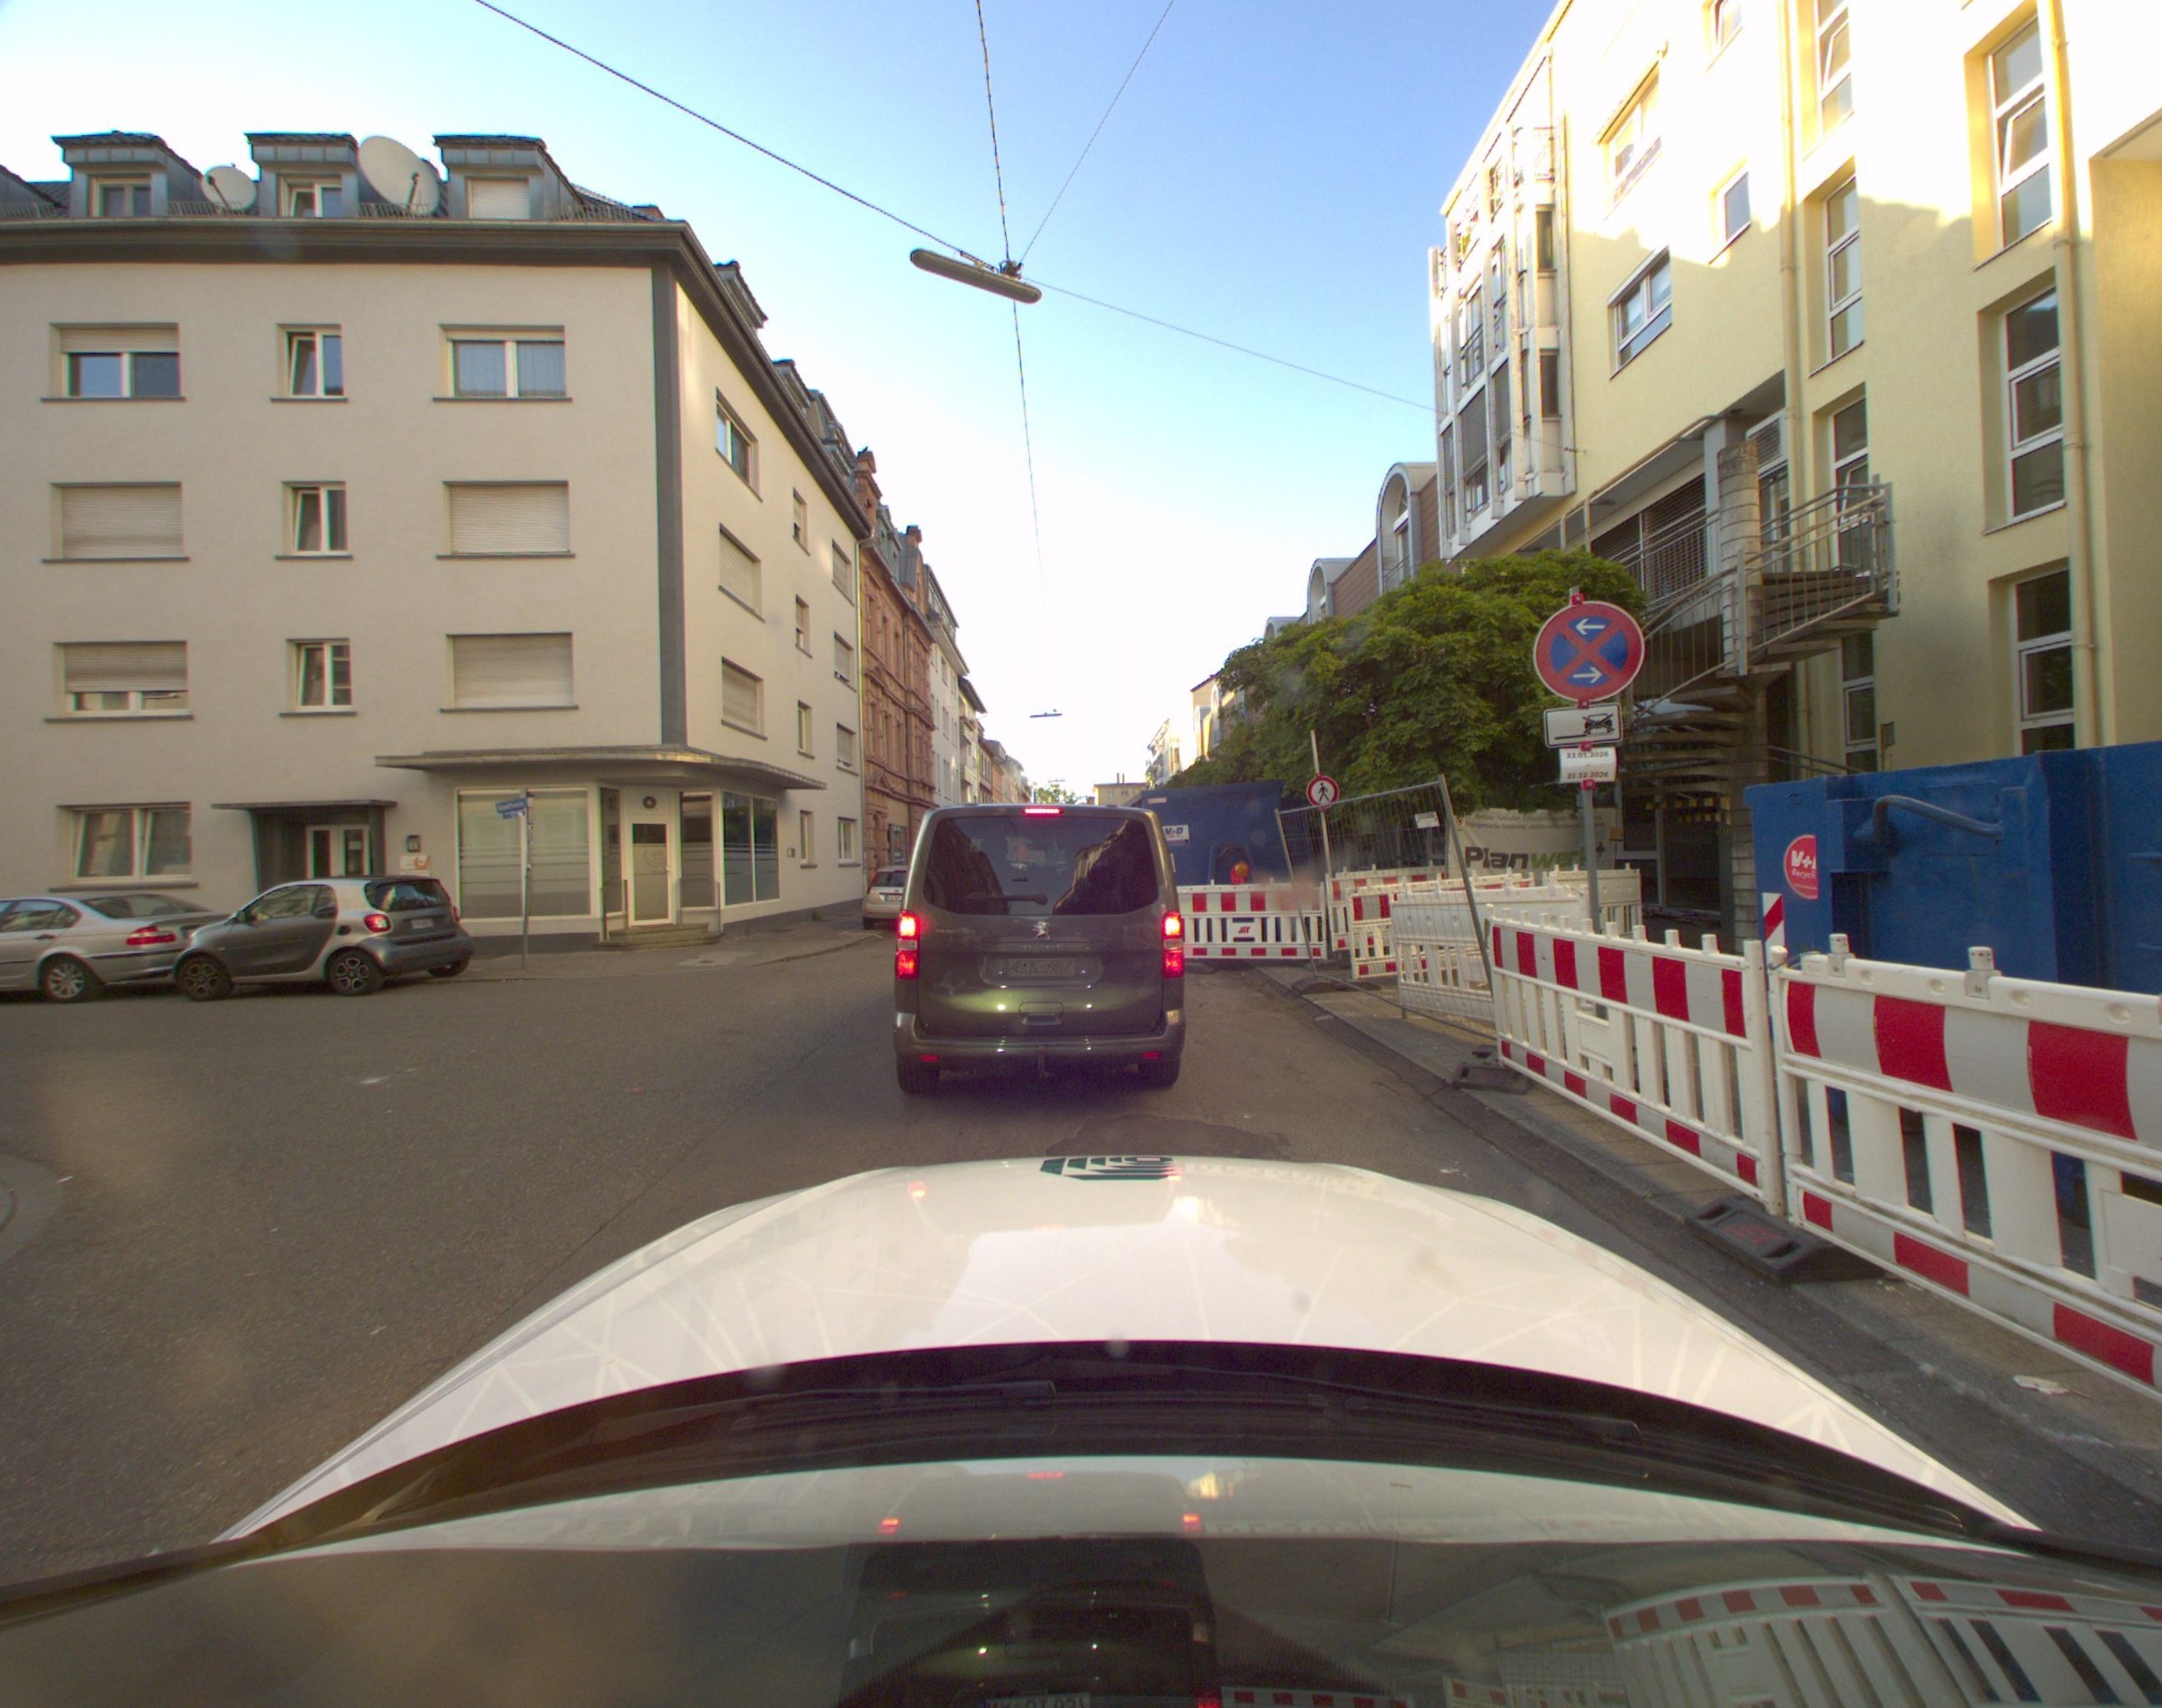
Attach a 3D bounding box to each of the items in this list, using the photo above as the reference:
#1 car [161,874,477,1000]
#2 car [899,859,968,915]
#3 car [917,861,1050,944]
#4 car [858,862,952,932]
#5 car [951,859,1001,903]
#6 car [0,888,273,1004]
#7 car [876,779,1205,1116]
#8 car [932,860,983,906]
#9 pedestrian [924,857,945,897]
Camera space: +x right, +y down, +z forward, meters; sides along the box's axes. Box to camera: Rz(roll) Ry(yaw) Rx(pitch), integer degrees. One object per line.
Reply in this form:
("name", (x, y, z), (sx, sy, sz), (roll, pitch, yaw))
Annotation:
("car", (-10.268, 1.066, 11.146), (2.778, 1.540, 1.593), (0, 0, -1))
("car", (-4.445, 0.972, 24.966), (1.653, 1.525, 3.412), (3, -1, -4))
("car", (-1.911, 0.918, 17.567), (1.919, 1.451, 4.817), (-2, 0, 4))
("car", (-4.145, 0.969, 19.646), (1.653, 1.460, 3.412), (3, -1, -4))
("car", (-4.540, 1.145, 35.699), (1.888, 1.720, 3.748), (3, -1, -4))
("car", (-14.205, 1.247, 11.333), (4.193, 1.403, 1.602), (-1, 0, -2))
("car", (-0.369, 0.551, 6.797), (1.862, 1.886, 4.228), (-1, -1, -4))
("car", (-4.801, 1.116, 32.059), (1.663, 1.666, 3.087), (3, -1, -4))
("pedestrian", (-6.259, 0.983, 34.790), (0.739, 1.664, 0.702), (-2, 0, -5))
